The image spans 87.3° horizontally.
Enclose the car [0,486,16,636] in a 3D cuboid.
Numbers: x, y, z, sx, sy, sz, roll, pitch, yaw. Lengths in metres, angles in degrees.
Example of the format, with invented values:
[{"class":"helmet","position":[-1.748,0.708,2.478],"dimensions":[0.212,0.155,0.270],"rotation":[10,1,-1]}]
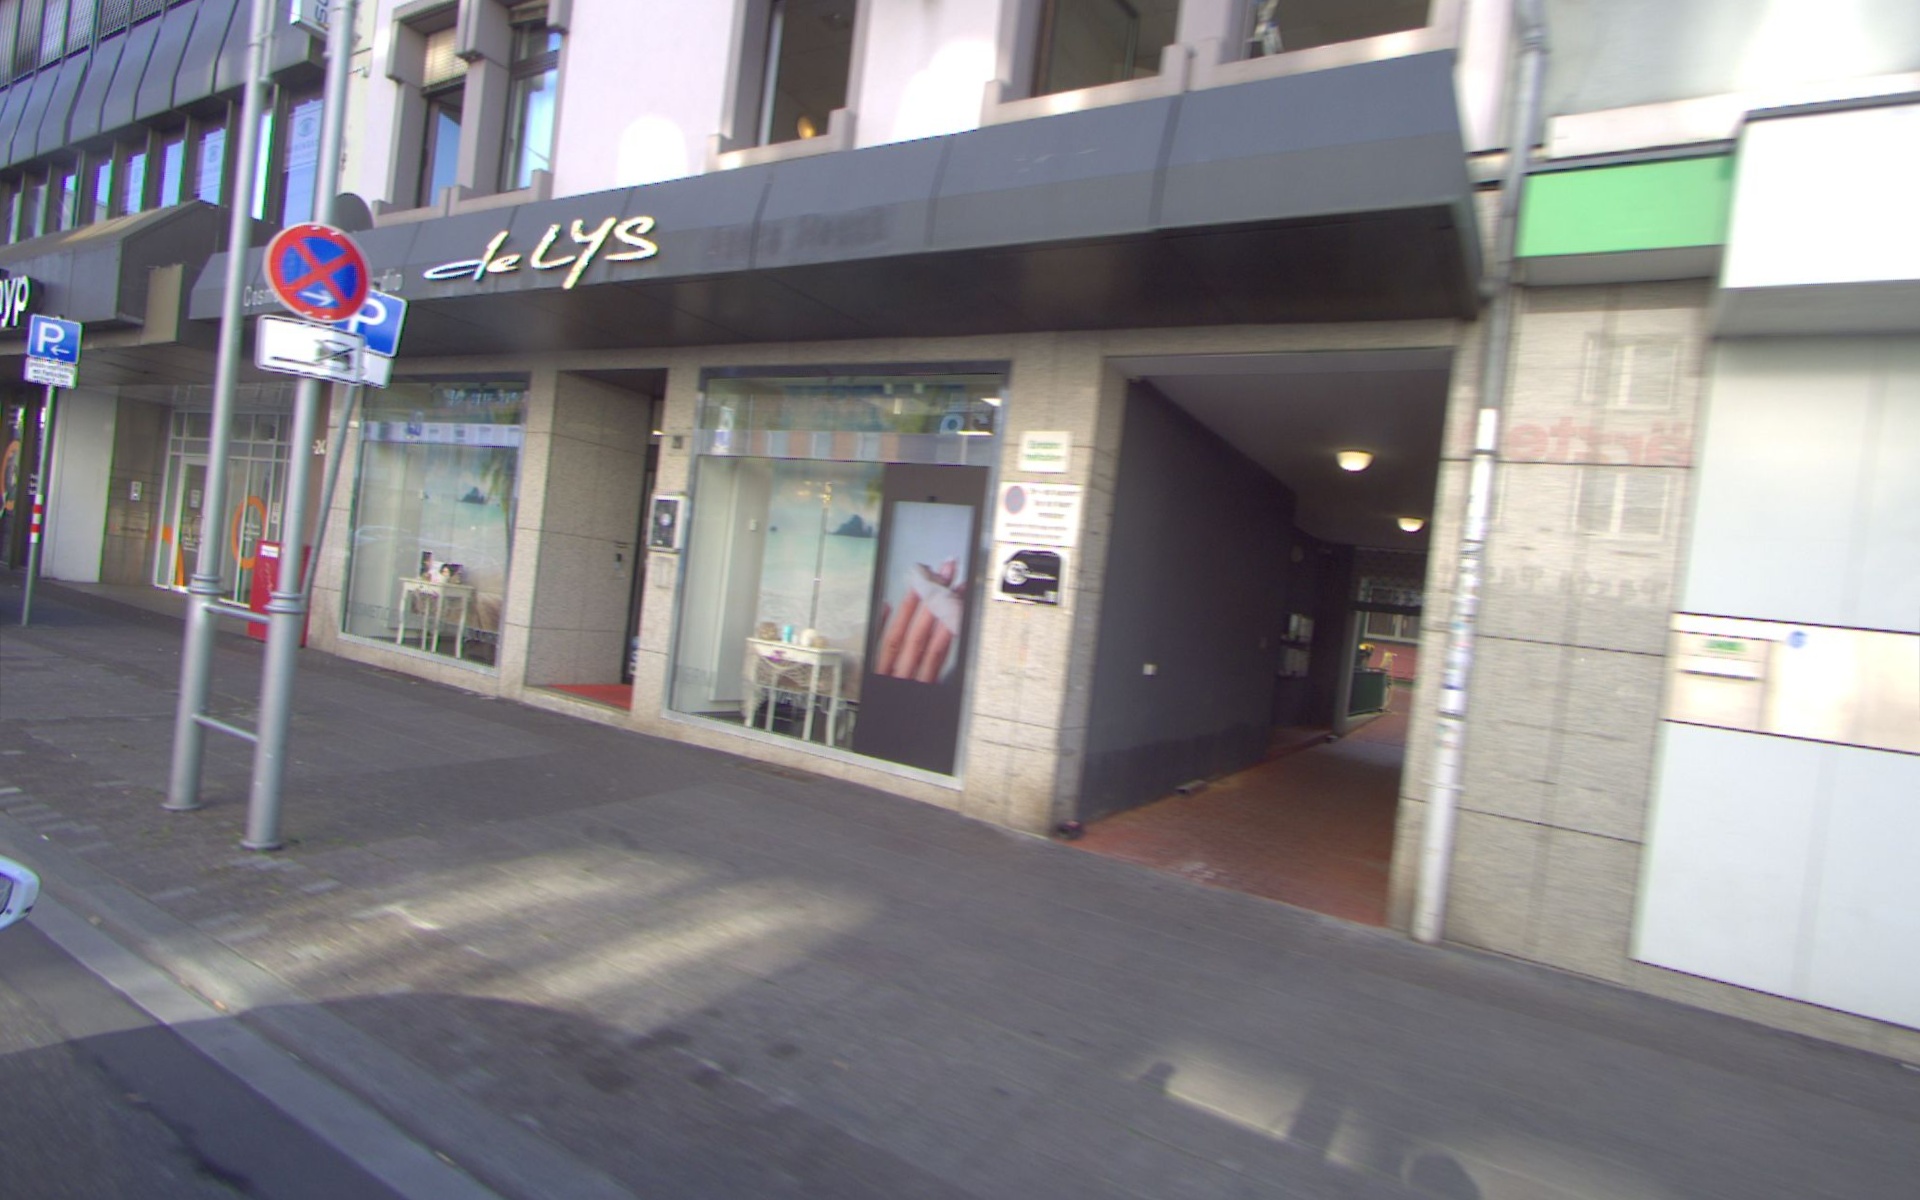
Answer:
[{"class":"car","position":[-11.725,-0.641,10.433],"dimensions":[4.232,1.481,1.848],"rotation":[7,1,33]}]

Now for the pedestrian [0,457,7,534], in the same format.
[{"class":"pedestrian","position":[-14.188,-1.199,14.172],"dimensions":[1.015,1.774,0.780],"rotation":[7,1,32]}]

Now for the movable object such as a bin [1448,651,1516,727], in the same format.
[{"class":"movable object such as a bin","position":[10.855,1.833,20.941],"dimensions":[1.072,1.403,1.001],"rotation":[7,2,27]}]
